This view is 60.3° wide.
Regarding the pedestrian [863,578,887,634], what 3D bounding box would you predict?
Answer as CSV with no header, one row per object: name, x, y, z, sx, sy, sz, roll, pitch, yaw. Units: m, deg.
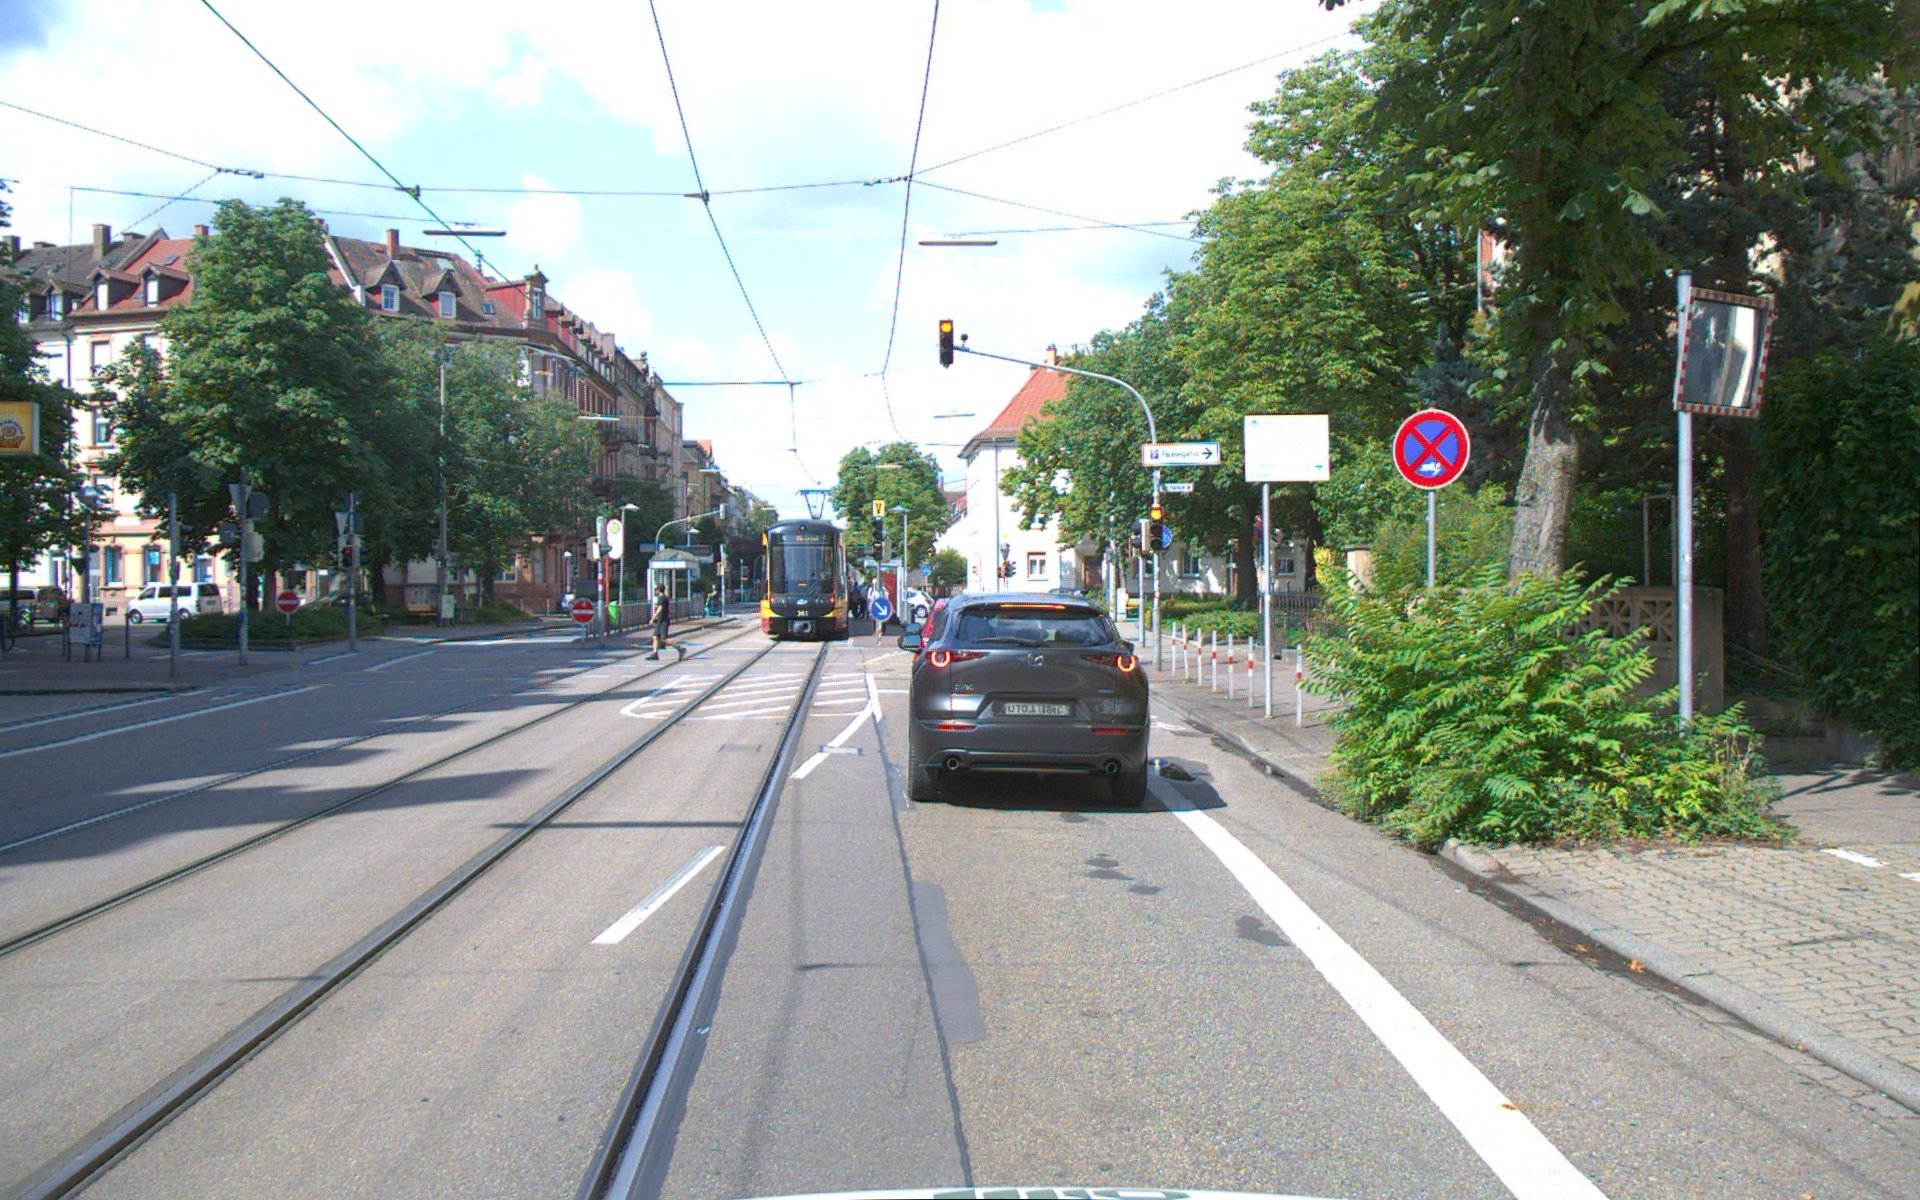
pedestrian,-2.523,0.175,49.040,0.655,1.633,0.699,0,0,-6

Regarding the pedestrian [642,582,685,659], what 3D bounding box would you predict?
pedestrian,-6.426,0.438,35.850,0.858,1.633,0.631,0,0,-6

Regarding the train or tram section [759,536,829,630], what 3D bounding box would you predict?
train or tram section,-6.903,-0.652,68.053,2.601,3.589,8.483,-1,0,-7

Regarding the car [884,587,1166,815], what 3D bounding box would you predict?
car,0.353,0.678,13.496,1.754,1.538,4.346,1,1,-5

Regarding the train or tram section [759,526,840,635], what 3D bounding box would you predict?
train or tram section,-5.879,-0.654,59.612,2.601,3.589,8.483,-1,0,-7

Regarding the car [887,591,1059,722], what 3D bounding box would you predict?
car,0.053,0.662,22.371,1.751,1.518,4.876,-1,1,-6

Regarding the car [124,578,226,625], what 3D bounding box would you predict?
car,-39.183,0.060,82.629,4.033,2.048,2.001,-4,0,6

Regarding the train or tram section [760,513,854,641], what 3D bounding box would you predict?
train or tram section,-4.850,-0.653,51.188,2.601,3.589,8.483,-1,0,-7
